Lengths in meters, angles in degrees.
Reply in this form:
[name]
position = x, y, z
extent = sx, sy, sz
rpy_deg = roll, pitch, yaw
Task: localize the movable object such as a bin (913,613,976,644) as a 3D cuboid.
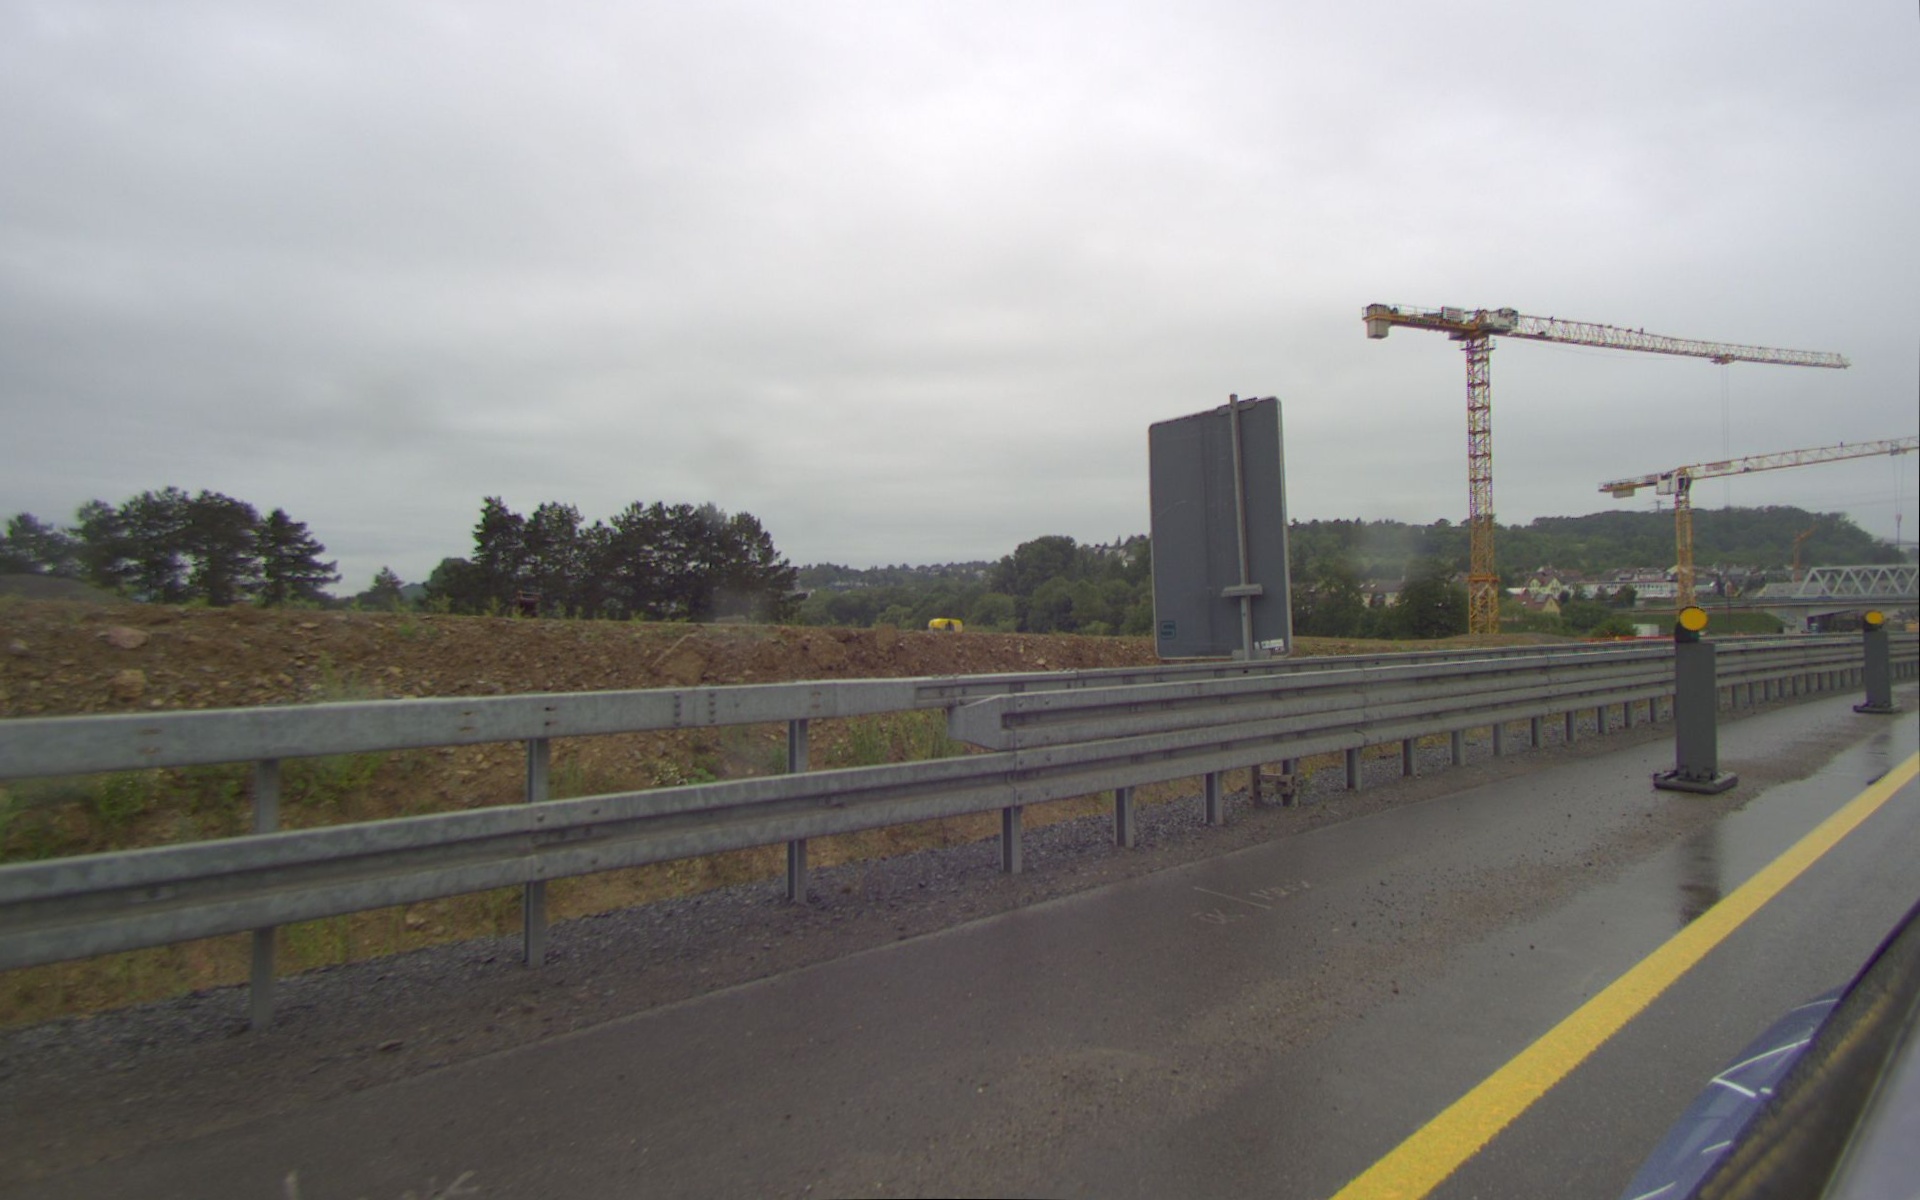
[movable object such as a bin]
position = -0.674, 1.258, 45.835
extent = 2.662, 1.318, 1.388
rpy_deg = 0, 0, -45
